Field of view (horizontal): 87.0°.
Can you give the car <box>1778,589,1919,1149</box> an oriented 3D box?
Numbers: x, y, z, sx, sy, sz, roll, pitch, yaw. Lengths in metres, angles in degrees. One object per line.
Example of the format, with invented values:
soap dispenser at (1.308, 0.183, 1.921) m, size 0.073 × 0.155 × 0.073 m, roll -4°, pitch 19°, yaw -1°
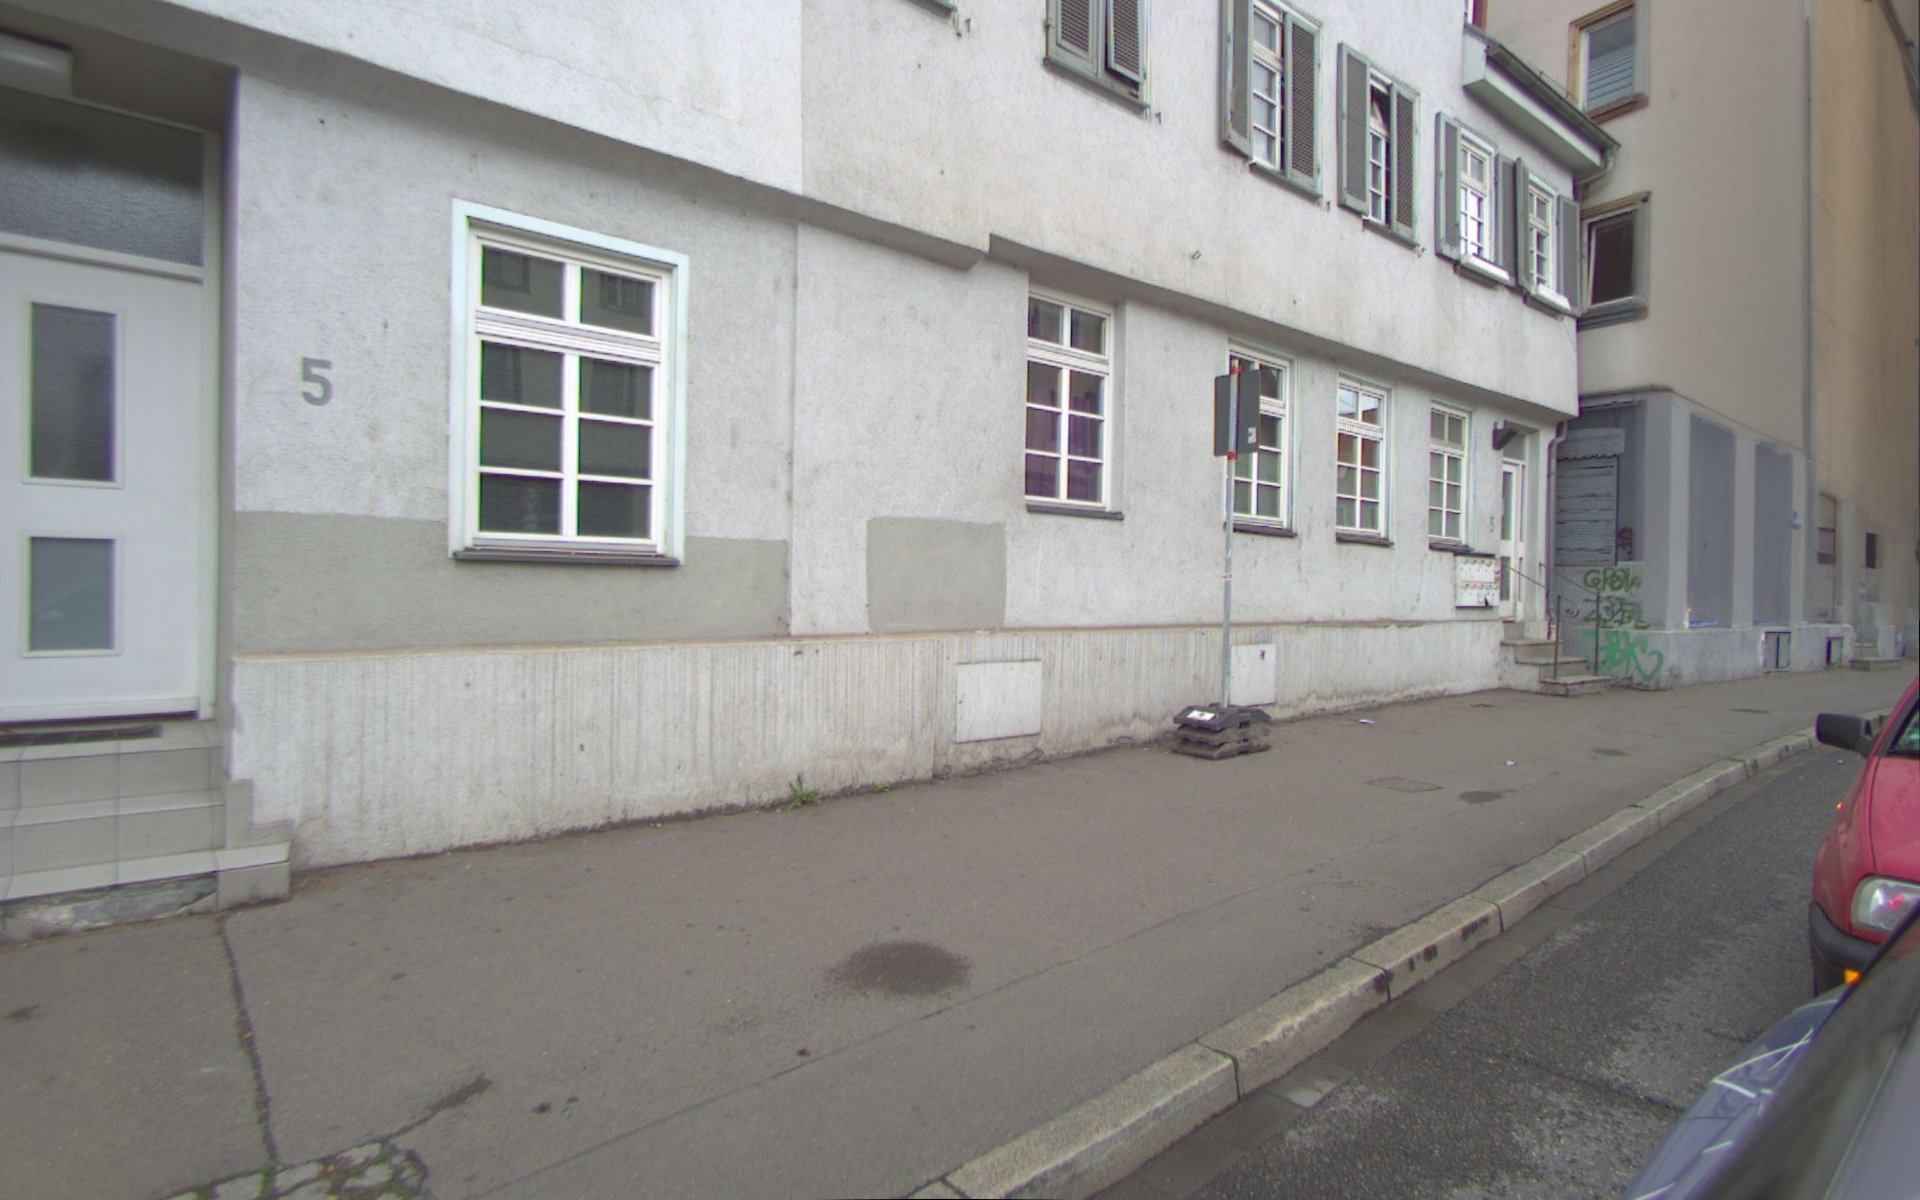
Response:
car at (4.354, 0.701, 3.535) m, size 3.932 × 1.443 × 1.790 m, roll -1°, pitch 1°, yaw -43°
